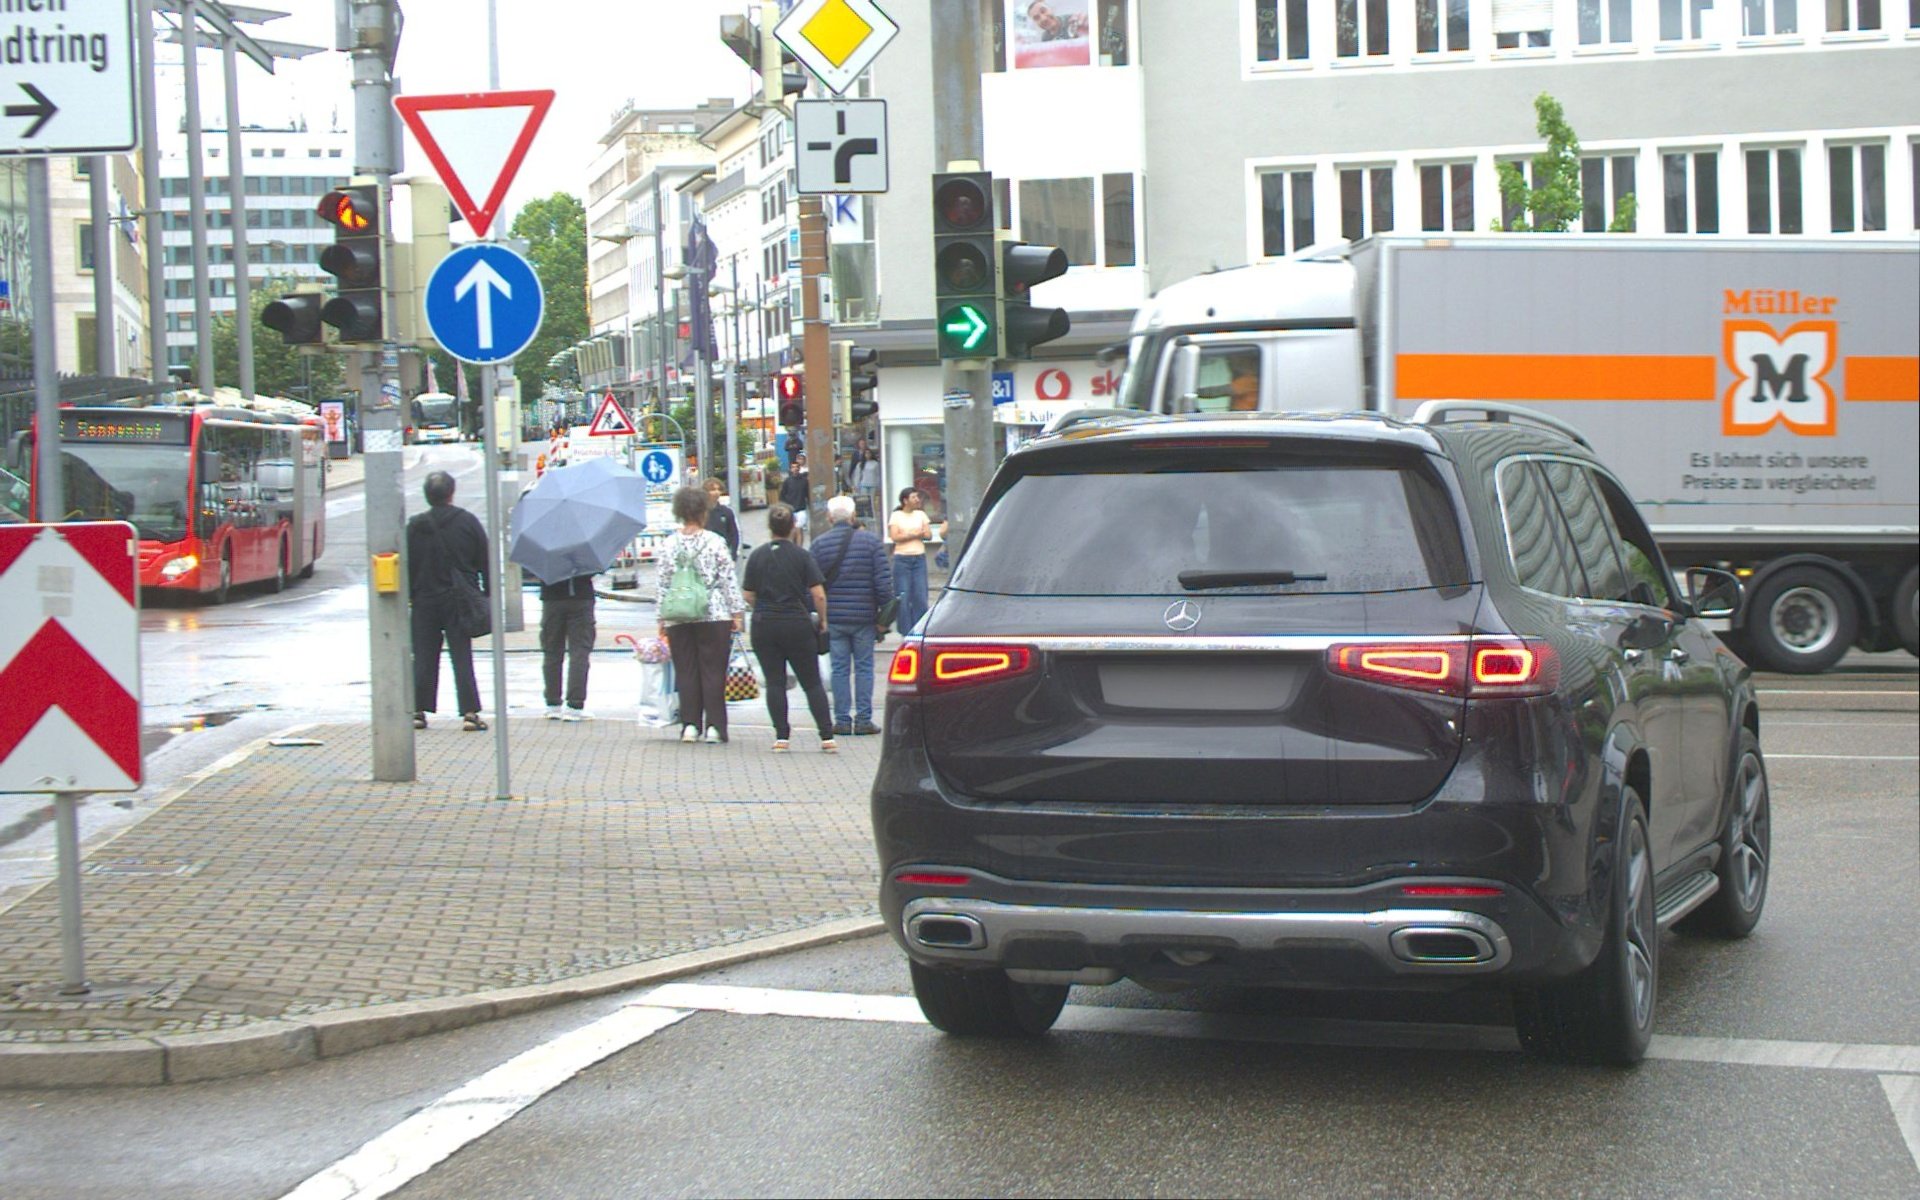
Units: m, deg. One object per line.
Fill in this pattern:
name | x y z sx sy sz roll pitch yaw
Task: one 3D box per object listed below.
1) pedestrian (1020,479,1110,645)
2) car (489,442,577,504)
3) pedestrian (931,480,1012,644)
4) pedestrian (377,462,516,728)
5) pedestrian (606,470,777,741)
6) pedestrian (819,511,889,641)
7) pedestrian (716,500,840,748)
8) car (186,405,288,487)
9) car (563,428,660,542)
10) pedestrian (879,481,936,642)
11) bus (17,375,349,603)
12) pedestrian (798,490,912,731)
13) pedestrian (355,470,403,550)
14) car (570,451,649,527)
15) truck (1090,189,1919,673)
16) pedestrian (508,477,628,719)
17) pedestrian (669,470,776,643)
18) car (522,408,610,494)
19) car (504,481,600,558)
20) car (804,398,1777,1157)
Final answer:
pedestrian | 1.128 -0.412 37.143 0.829 1.772 0.618 1 2 -10
car | -12.695 -3.771 102.429 2.422 1.774 5.155 1 2 -5
pedestrian | 0.121 -0.401 35.922 0.781 1.683 0.639 1 2 4
pedestrian | -3.359 -0.034 22.557 0.783 1.705 0.707 1 0 0
pedestrian | -1.693 0.020 21.818 0.978 1.666 0.915 1 2 1
pedestrian | -1.111 -0.254 35.912 0.630 1.335 0.588 1 2 -10
pedestrian | -1.104 0.140 20.969 0.705 1.483 0.560 1 0 0
car | -18.881 -4.002 89.956 2.241 2.027 5.359 1 2 -8
car | -9.462 -3.087 92.841 2.444 2.947 6.155 1 2 -7
pedestrian | -0.545 -0.406 35.895 0.569 1.663 0.502 0 1 2
bus | -12.935 -1.844 59.228 2.920 3.309 18.482 0 1 -4
pedestrian | -0.692 0.063 22.856 0.713 1.563 0.855 1 1 0
pedestrian | -13.860 -2.156 82.047 0.954 1.880 0.810 1 2 2
car | -8.816 -2.786 86.315 1.860 1.819 4.105 1 2 -7
truck | 6.653 -1.554 32.204 10.735 4.318 2.856 0 2 -1
pedestrian | -2.780 -0.017 24.437 0.756 1.686 0.693 1 0 0
pedestrian | -2.506 -0.463 36.189 1.009 1.781 0.853 1 2 -11
car | -16.476 -6.208 144.101 2.445 3.453 6.152 1 2 5
car | -8.401 -1.682 70.979 1.737 1.522 4.001 1 2 -4
car | 1.311 0.315 10.796 2.089 1.810 4.789 1 3 17
